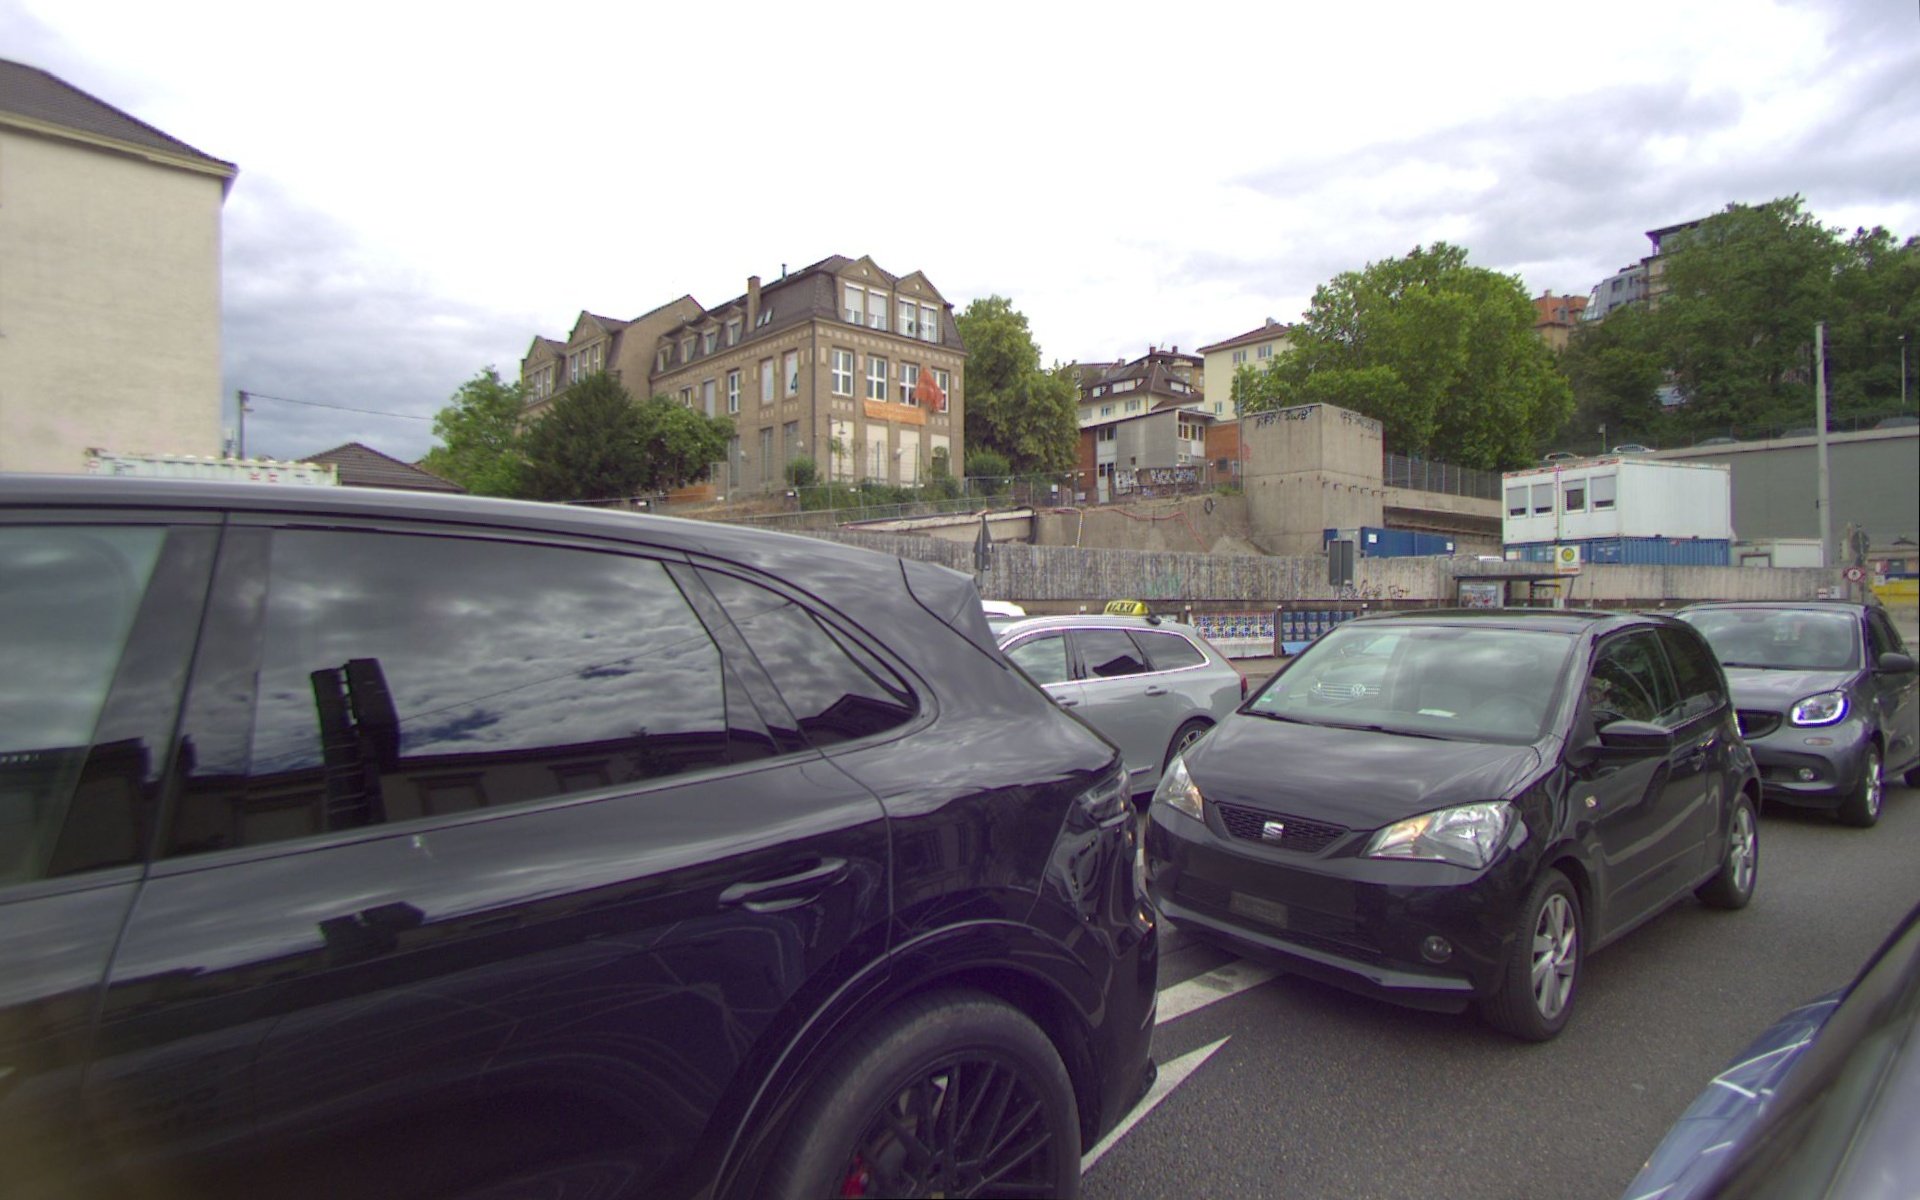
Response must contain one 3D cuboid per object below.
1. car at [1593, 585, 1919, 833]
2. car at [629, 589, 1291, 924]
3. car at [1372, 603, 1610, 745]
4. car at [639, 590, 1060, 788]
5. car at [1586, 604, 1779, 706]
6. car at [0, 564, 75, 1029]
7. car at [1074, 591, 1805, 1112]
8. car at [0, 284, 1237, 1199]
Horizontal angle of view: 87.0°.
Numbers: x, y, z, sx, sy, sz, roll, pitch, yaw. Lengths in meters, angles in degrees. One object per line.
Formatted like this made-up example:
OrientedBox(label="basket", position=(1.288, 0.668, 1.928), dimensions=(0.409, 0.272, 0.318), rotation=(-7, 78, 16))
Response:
OrientedBox(label="car", position=(6.719, 0.689, 8.185), dimensions=(3.511, 1.563, 1.720), rotation=(0, 0, -40))
OrientedBox(label="car", position=(0.280, 0.754, 7.261), dimensions=(4.725, 1.645, 1.827), rotation=(-1, 0, -41))
OrientedBox(label="car", position=(6.381, 0.775, 12.102), dimensions=(2.667, 1.449, 1.664), rotation=(-1, 0, -41))
OrientedBox(label="car", position=(-0.997, 0.729, 10.478), dimensions=(4.136, 1.645, 1.679), rotation=(-1, 0, -41))
OrientedBox(label="car", position=(11.518, 0.777, 16.054), dimensions=(3.740, 1.383, 1.679), rotation=(-1, 0, -41))
OrientedBox(label="car", position=(-5.294, 0.708, 3.038), dimensions=(3.930, 1.645, 1.679), rotation=(-1, 0, -41))
OrientedBox(label="car", position=(2.447, 0.704, 4.791), dimensions=(3.636, 1.476, 1.827), rotation=(-1, 0, -41))
OrientedBox(label="car", position=(-1.611, 0.558, 1.600), dimensions=(4.406, 1.736, 1.827), rotation=(-1, 0, -41))
